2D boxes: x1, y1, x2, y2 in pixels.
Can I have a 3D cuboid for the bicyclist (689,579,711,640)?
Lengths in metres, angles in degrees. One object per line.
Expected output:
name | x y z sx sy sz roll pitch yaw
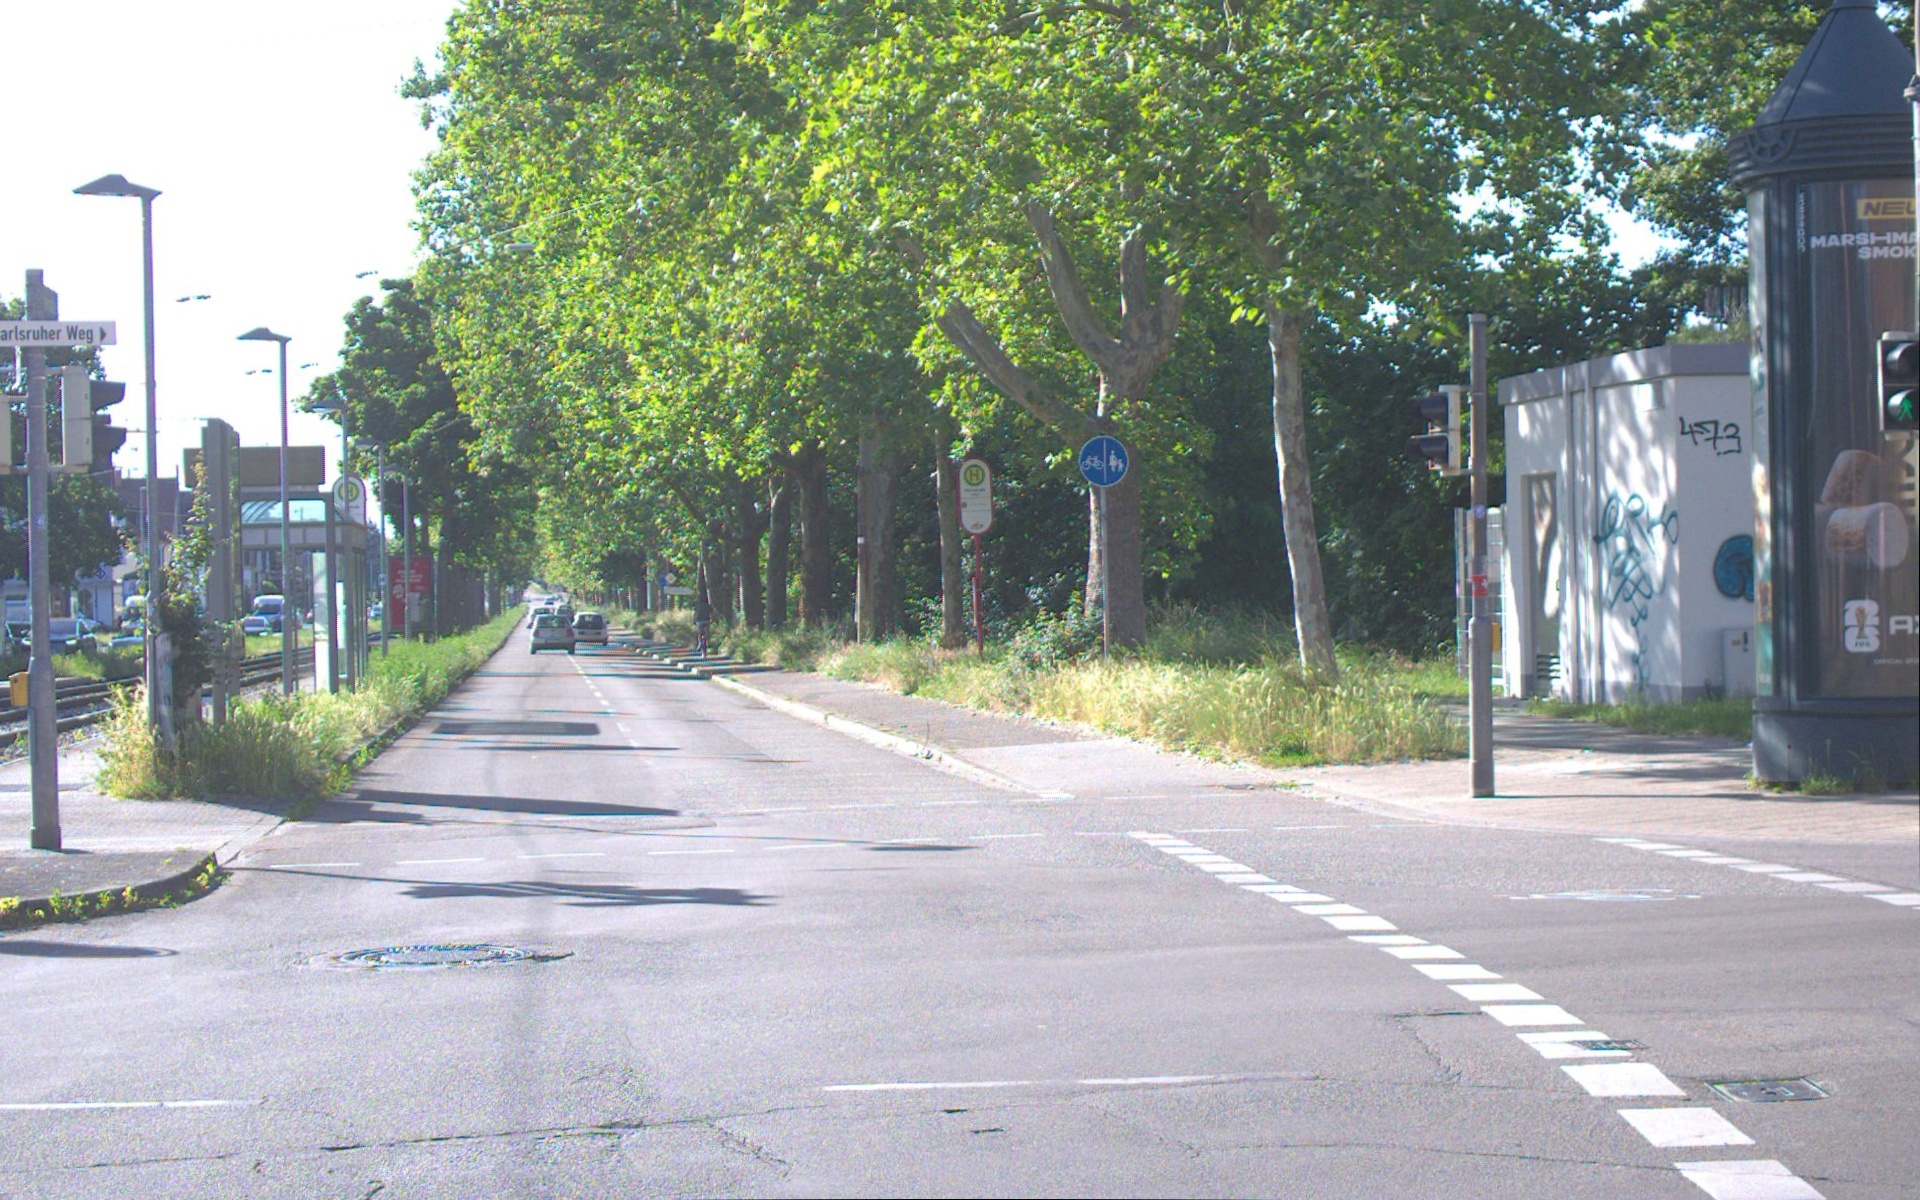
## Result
bicyclist | -7.634 0.285 100.888 0.534 1.764 0.713 -1 0 -9

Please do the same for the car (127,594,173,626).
car | -39.819 0.484 169.056 1.744 1.491 3.592 -1 0 -5

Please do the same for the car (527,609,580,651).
car | -14.875 1.084 125.848 1.867 1.481 3.556 0 0 -7

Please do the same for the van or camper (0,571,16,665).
van or camper | -32.890 0.612 112.916 2.589 3.095 6.789 -1 0 -7

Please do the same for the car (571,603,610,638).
car | -17.111 0.944 159.204 1.750 1.599 3.751 0 0 -7

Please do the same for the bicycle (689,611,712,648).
bicycle | -7.612 0.874 100.873 0.536 1.062 1.434 -1 0 -9

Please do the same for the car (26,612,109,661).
car | -27.744 1.126 106.948 1.993 1.464 4.377 -1 0 -8
